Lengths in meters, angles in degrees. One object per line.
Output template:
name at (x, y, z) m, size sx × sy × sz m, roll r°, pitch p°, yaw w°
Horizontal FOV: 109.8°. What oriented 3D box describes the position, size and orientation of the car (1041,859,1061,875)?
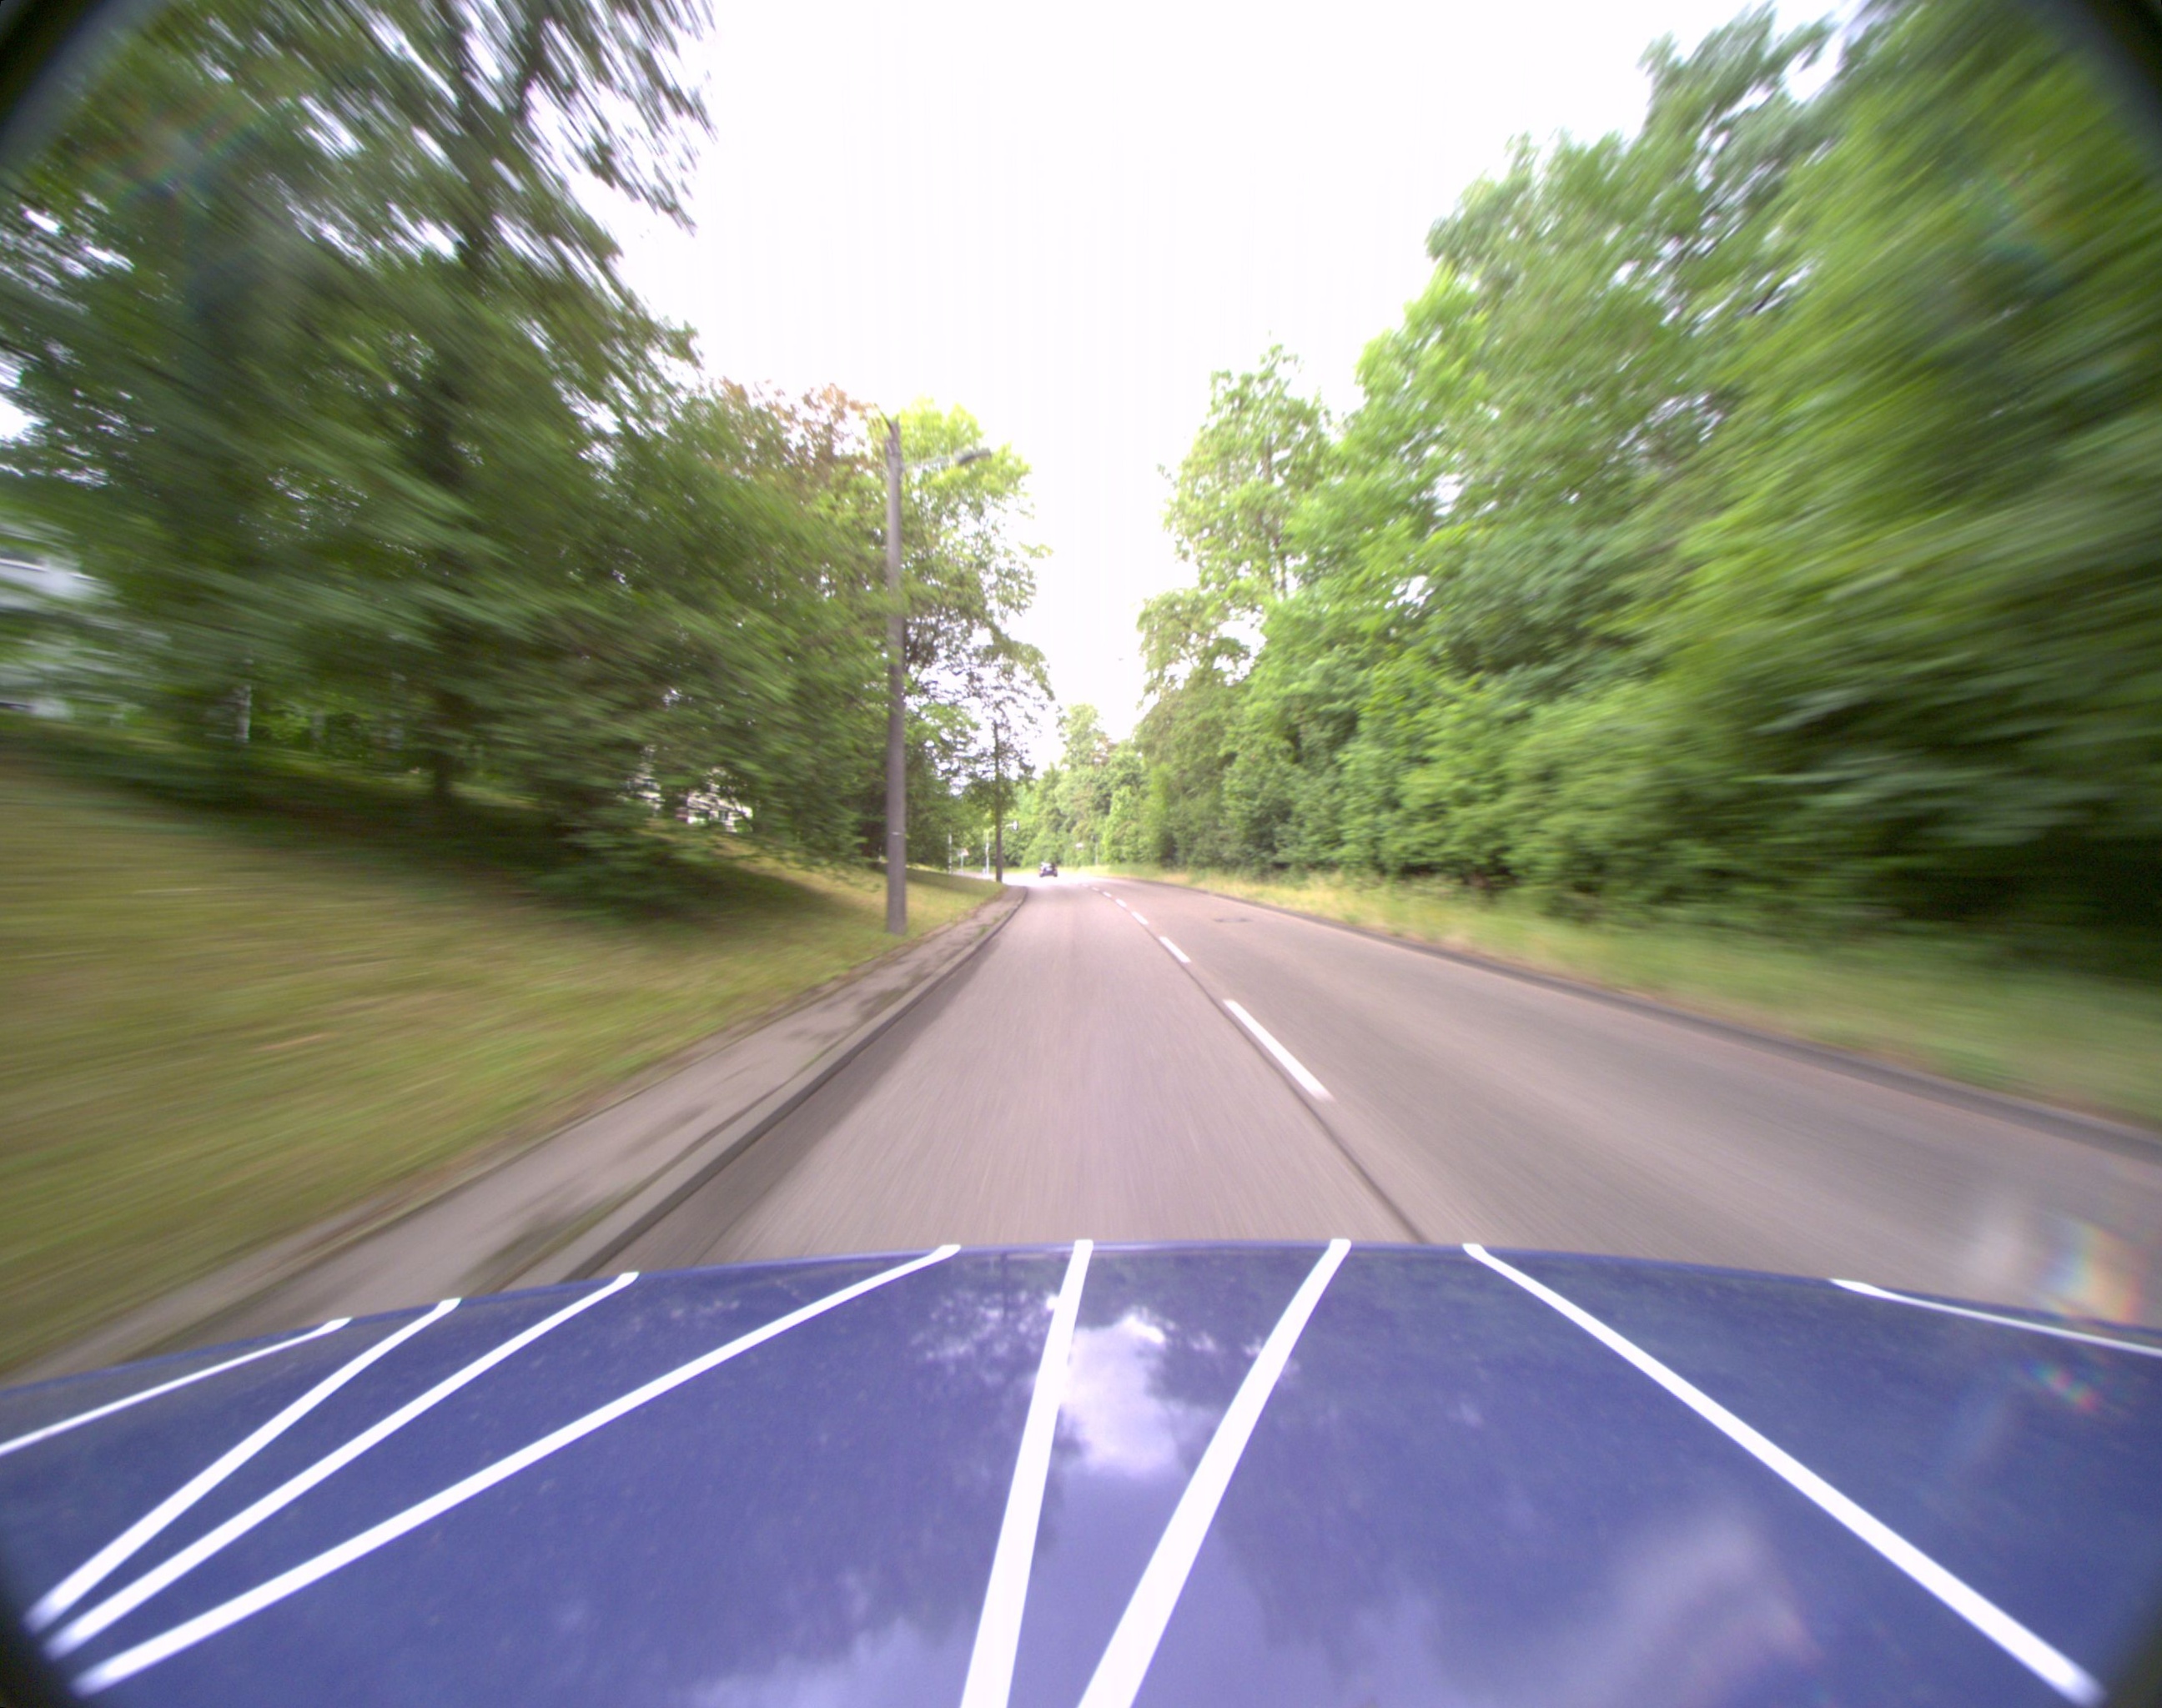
car at (-3.021, 1.307, 74.965) m, size 1.668 × 1.485 × 3.313 m, roll -1°, pitch -1°, yaw -7°
